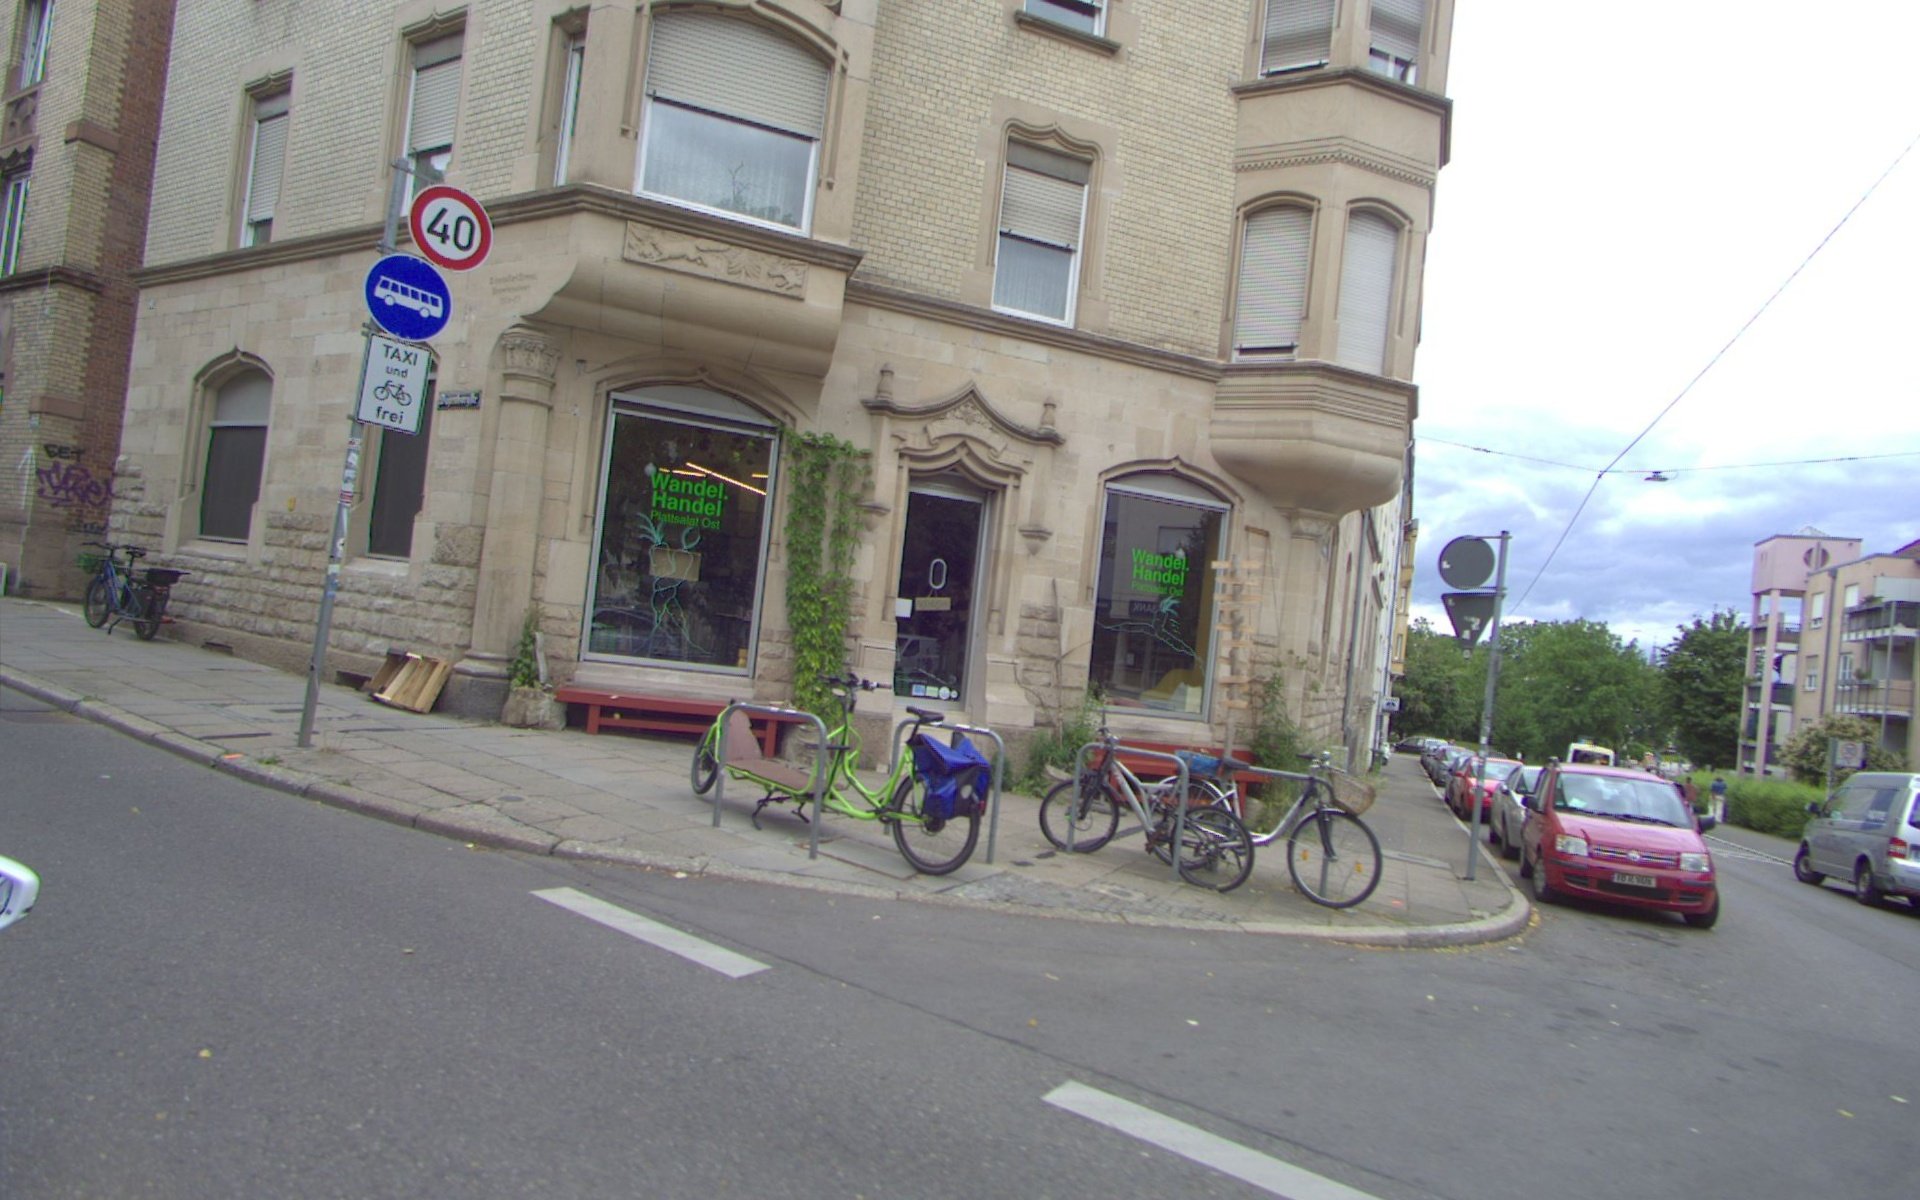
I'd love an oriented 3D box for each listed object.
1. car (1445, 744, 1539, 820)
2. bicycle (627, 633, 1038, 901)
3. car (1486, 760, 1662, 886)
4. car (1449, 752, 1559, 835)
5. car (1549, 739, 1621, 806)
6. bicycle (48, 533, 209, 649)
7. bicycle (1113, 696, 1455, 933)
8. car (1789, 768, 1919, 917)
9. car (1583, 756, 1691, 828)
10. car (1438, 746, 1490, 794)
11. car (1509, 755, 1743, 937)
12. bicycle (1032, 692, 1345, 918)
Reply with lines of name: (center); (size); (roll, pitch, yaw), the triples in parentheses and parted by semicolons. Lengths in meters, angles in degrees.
car: (14.525, 4.900, 27.587); (1.965, 1.489, 4.000); (7, -3, 27)
bicycle: (-0.973, 1.038, 6.935); (2.891, 1.163, 0.683); (9, 0, 32)
car: (9.453, 3.361, 15.792); (1.832, 1.394, 4.004); (5, -5, 26)
car: (12.624, 4.463, 23.569); (1.863, 1.434, 4.007); (7, -5, 26)
car: (31.495, 8.646, 50.860); (2.208, 2.707, 4.692); (7, -2, 25)
bicycle: (-10.279, -0.133, 12.404); (2.442, 1.163, 0.683); (6, -1, 32)
bicycle: (2.446, 1.576, 7.817); (2.347, 1.291, 0.459); (7, -2, 32)
car: (15.524, 3.966, 16.397); (1.953, 2.089, 4.409); (7, -5, 27)
car: (23.287, 6.548, 34.805); (2.108, 1.719, 4.692); (7, -3, 24)
car: (20.282, 6.807, 40.592); (1.614, 1.461, 3.727); (7, -3, 26)
car: (7.546, 2.679, 11.762); (1.638, 1.509, 4.015); (3, -6, 25)
bicycle: (1.675, 1.460, 7.526); (2.024, 1.162, 0.683); (9, -2, 32)
